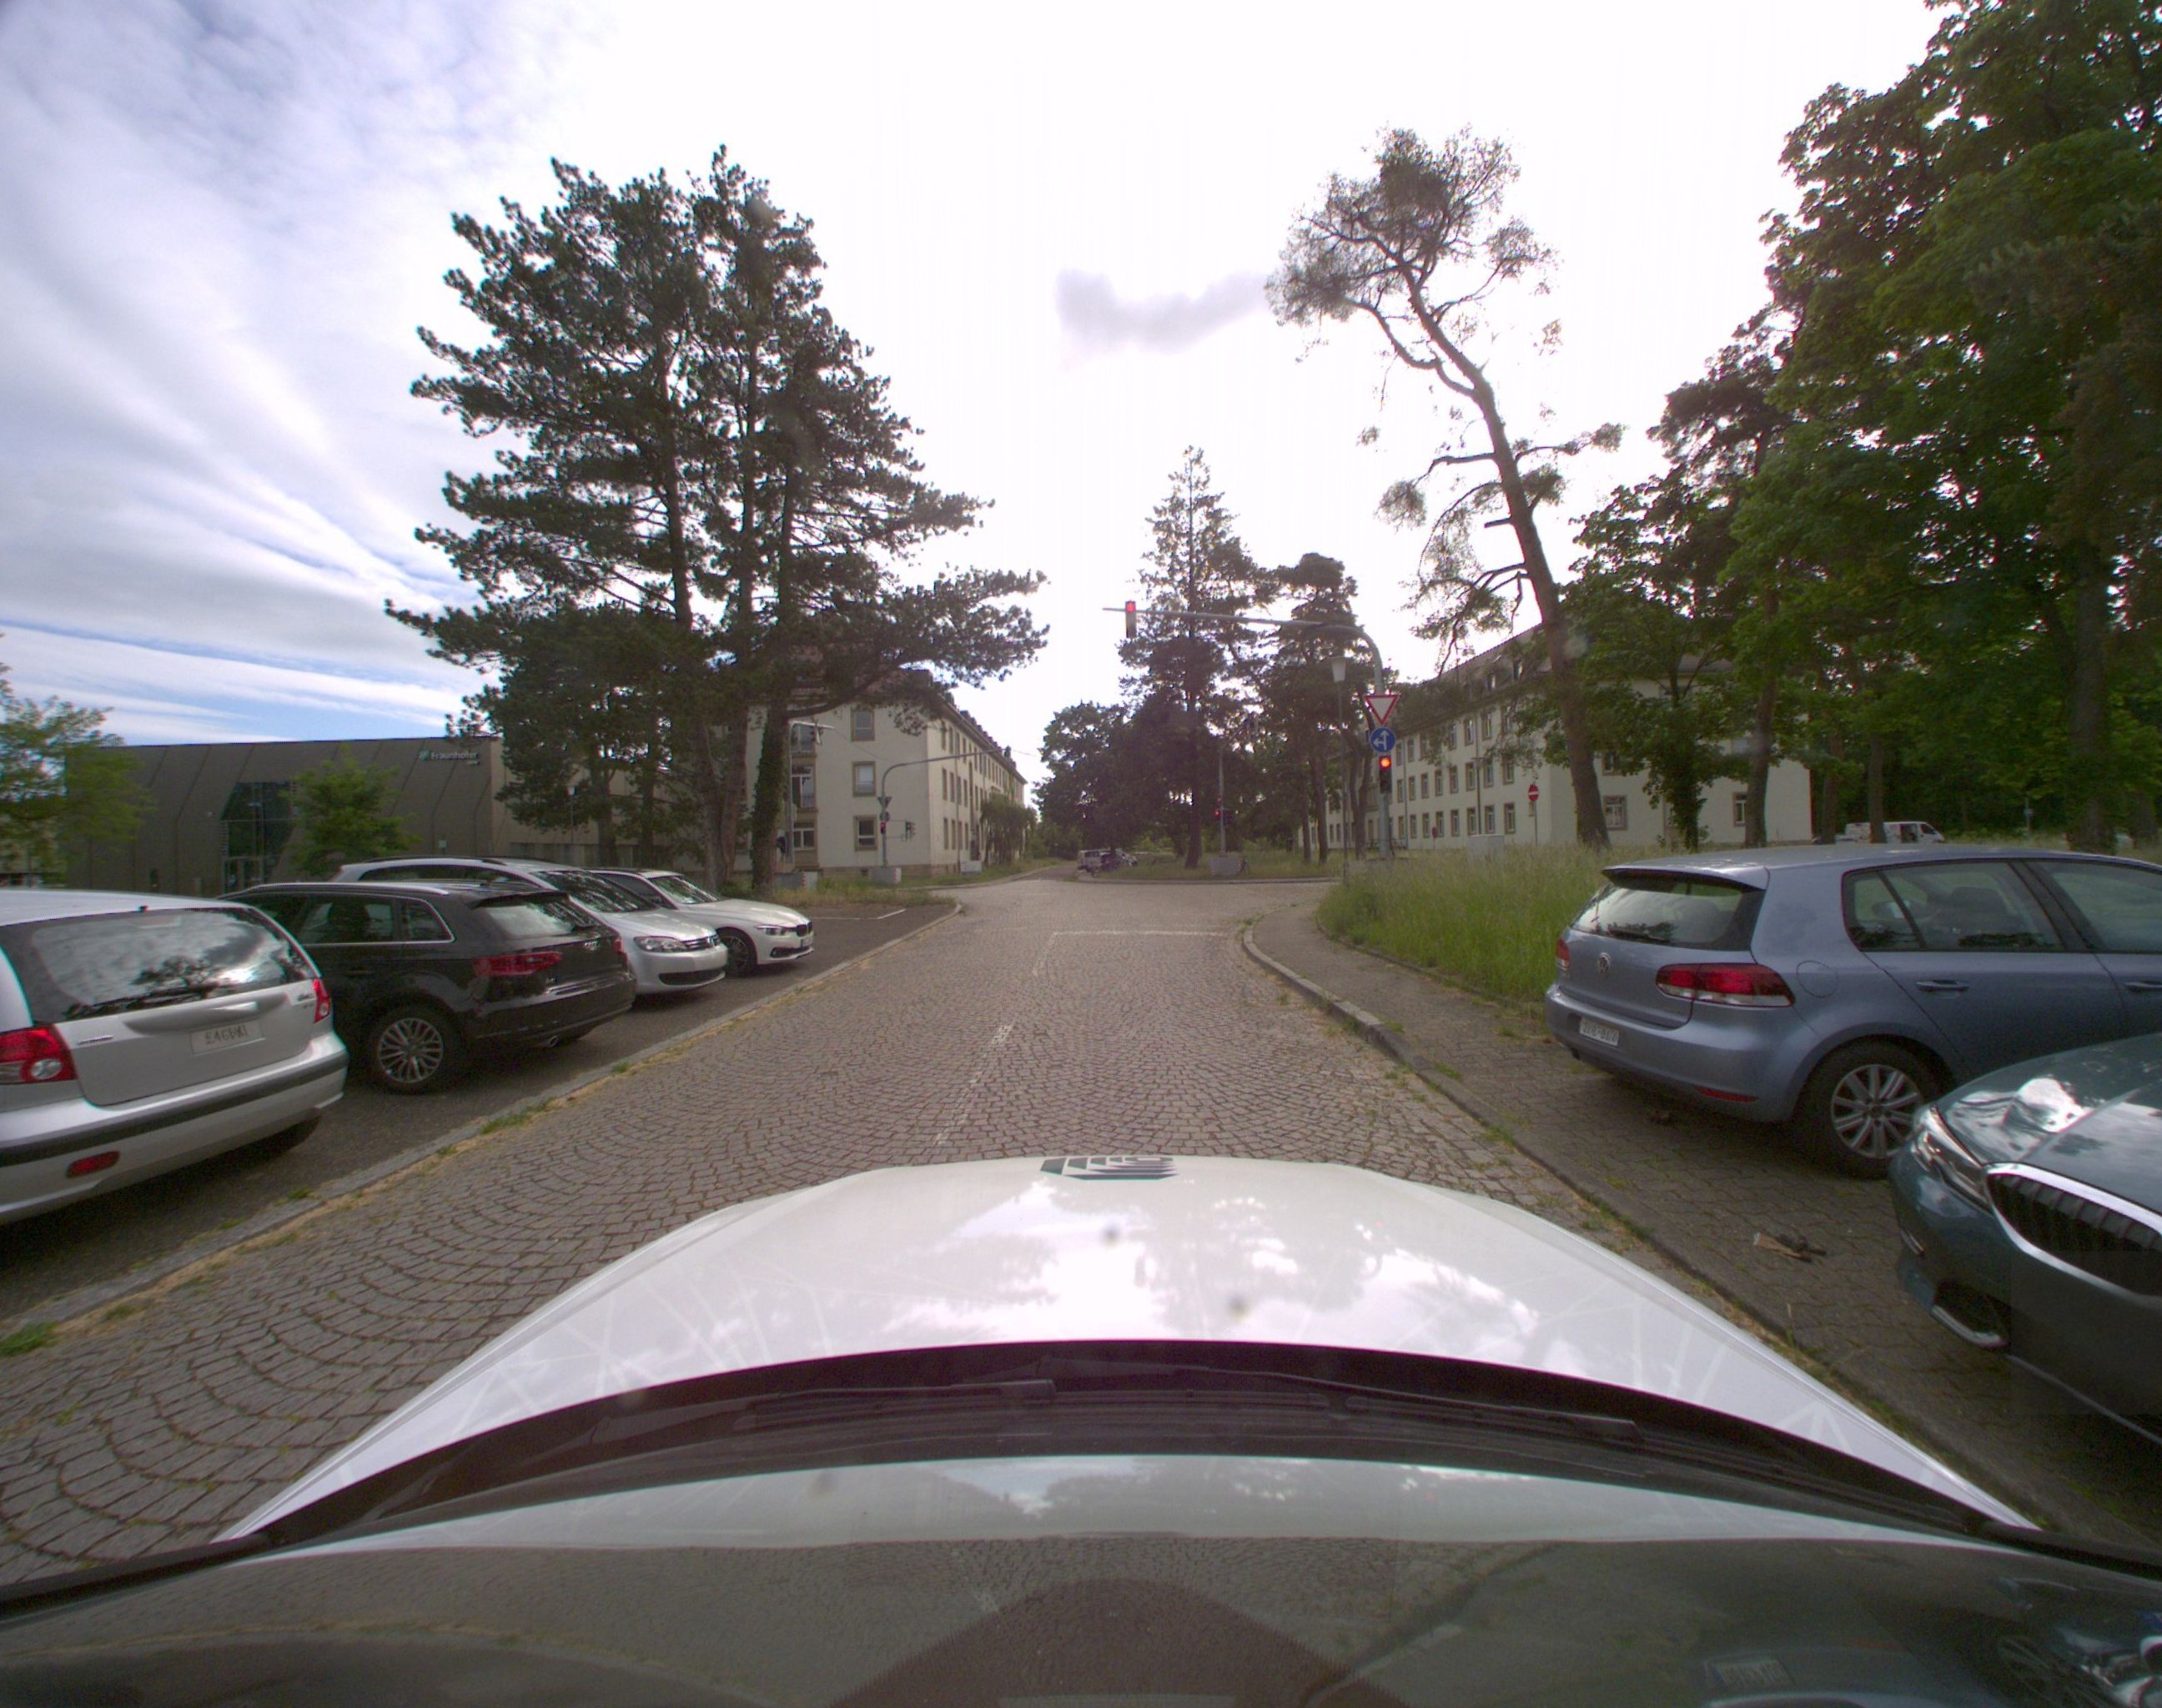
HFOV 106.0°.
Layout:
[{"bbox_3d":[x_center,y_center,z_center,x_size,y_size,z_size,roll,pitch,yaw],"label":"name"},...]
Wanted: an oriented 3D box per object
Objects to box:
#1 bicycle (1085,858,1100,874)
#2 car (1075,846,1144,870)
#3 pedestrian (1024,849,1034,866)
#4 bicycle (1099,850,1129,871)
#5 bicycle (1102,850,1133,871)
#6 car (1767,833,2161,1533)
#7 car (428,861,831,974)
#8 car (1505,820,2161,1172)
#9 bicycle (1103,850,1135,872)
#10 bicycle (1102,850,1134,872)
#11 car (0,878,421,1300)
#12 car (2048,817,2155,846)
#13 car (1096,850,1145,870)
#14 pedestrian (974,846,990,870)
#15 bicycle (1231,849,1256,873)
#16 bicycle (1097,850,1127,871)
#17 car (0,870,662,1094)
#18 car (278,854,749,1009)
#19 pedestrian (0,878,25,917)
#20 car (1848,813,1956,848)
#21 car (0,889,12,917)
[{"bbox_3d":[0.746,0.778,51.901,0.614,0.963,2.081,-2,0,8],"label":"bicycle"},{"bbox_3d":[2.490,0.346,71.567,5.694,1.910,2.222,-2,0,-11],"label":"car"},{"bbox_3d":[-6.466,0.433,101.005,0.952,2.013,0.797,-2,0,11],"label":"pedestrian"},{"bbox_3d":[2.288,0.458,56.563,2.062,1.378,0.620,-2,0,1],"label":"bicycle"},{"bbox_3d":[2.463,0.453,54.964,2.062,1.378,0.620,-2,0,1],"label":"bicycle"},{"bbox_3d":[4.669,0.641,1.892,4.744,1.482,1.760,-2,0,-2],"label":"car"},{"bbox_3d":[-6.159,0.848,11.567,4.636,1.443,1.800,1,0,-3],"label":"car"},{"bbox_3d":[4.634,0.611,4.455,3.750,1.426,1.606,-3,0,0],"label":"car"},{"bbox_3d":[2.476,0.448,53.667,2.062,1.378,0.620,-2,0,1],"label":"bicycle"},{"bbox_3d":[2.450,0.450,54.339,2.062,1.378,0.620,-2,0,1],"label":"bicycle"},{"bbox_3d":[-5.677,0.872,3.760,3.670,1.452,1.806,1,0,-3],"label":"car"},{"bbox_3d":[57.938,-1.252,46.302,3.468,1.507,2.001,-2,0,2],"label":"car"},{"bbox_3d":[3.294,0.473,68.180,3.924,1.544,1.998,-2,0,-4],"label":"car"},{"bbox_3d":[-8.395,0.358,69.378,1.081,2.013,1.023,-2,0,6],"label":"pedestrian"},{"bbox_3d":[8.209,0.351,41.284,0.905,1.177,1.874,-2,0,1],"label":"bicycle"},{"bbox_3d":[2.191,0.466,58.051,2.062,1.378,0.620,-2,0,1],"label":"bicycle"},{"bbox_3d":[-5.721,0.876,6.335,3.974,1.427,1.751,1,0,0],"label":"car"},{"bbox_3d":[-6.084,0.799,9.145,3.978,1.547,1.722,1,0,-3],"label":"car"},{"bbox_3d":[-57.882,2.345,43.851,0.903,2.013,0.913,-2,0,-26],"label":"pedestrian"},{"bbox_3d":[57.475,-1.625,57.106,5.159,2.288,2.215,-2,0,2],"label":"car"},{"bbox_3d":[-57.068,2.653,40.415,1.985,1.430,4.464,-2,2,3],"label":"car"}]
